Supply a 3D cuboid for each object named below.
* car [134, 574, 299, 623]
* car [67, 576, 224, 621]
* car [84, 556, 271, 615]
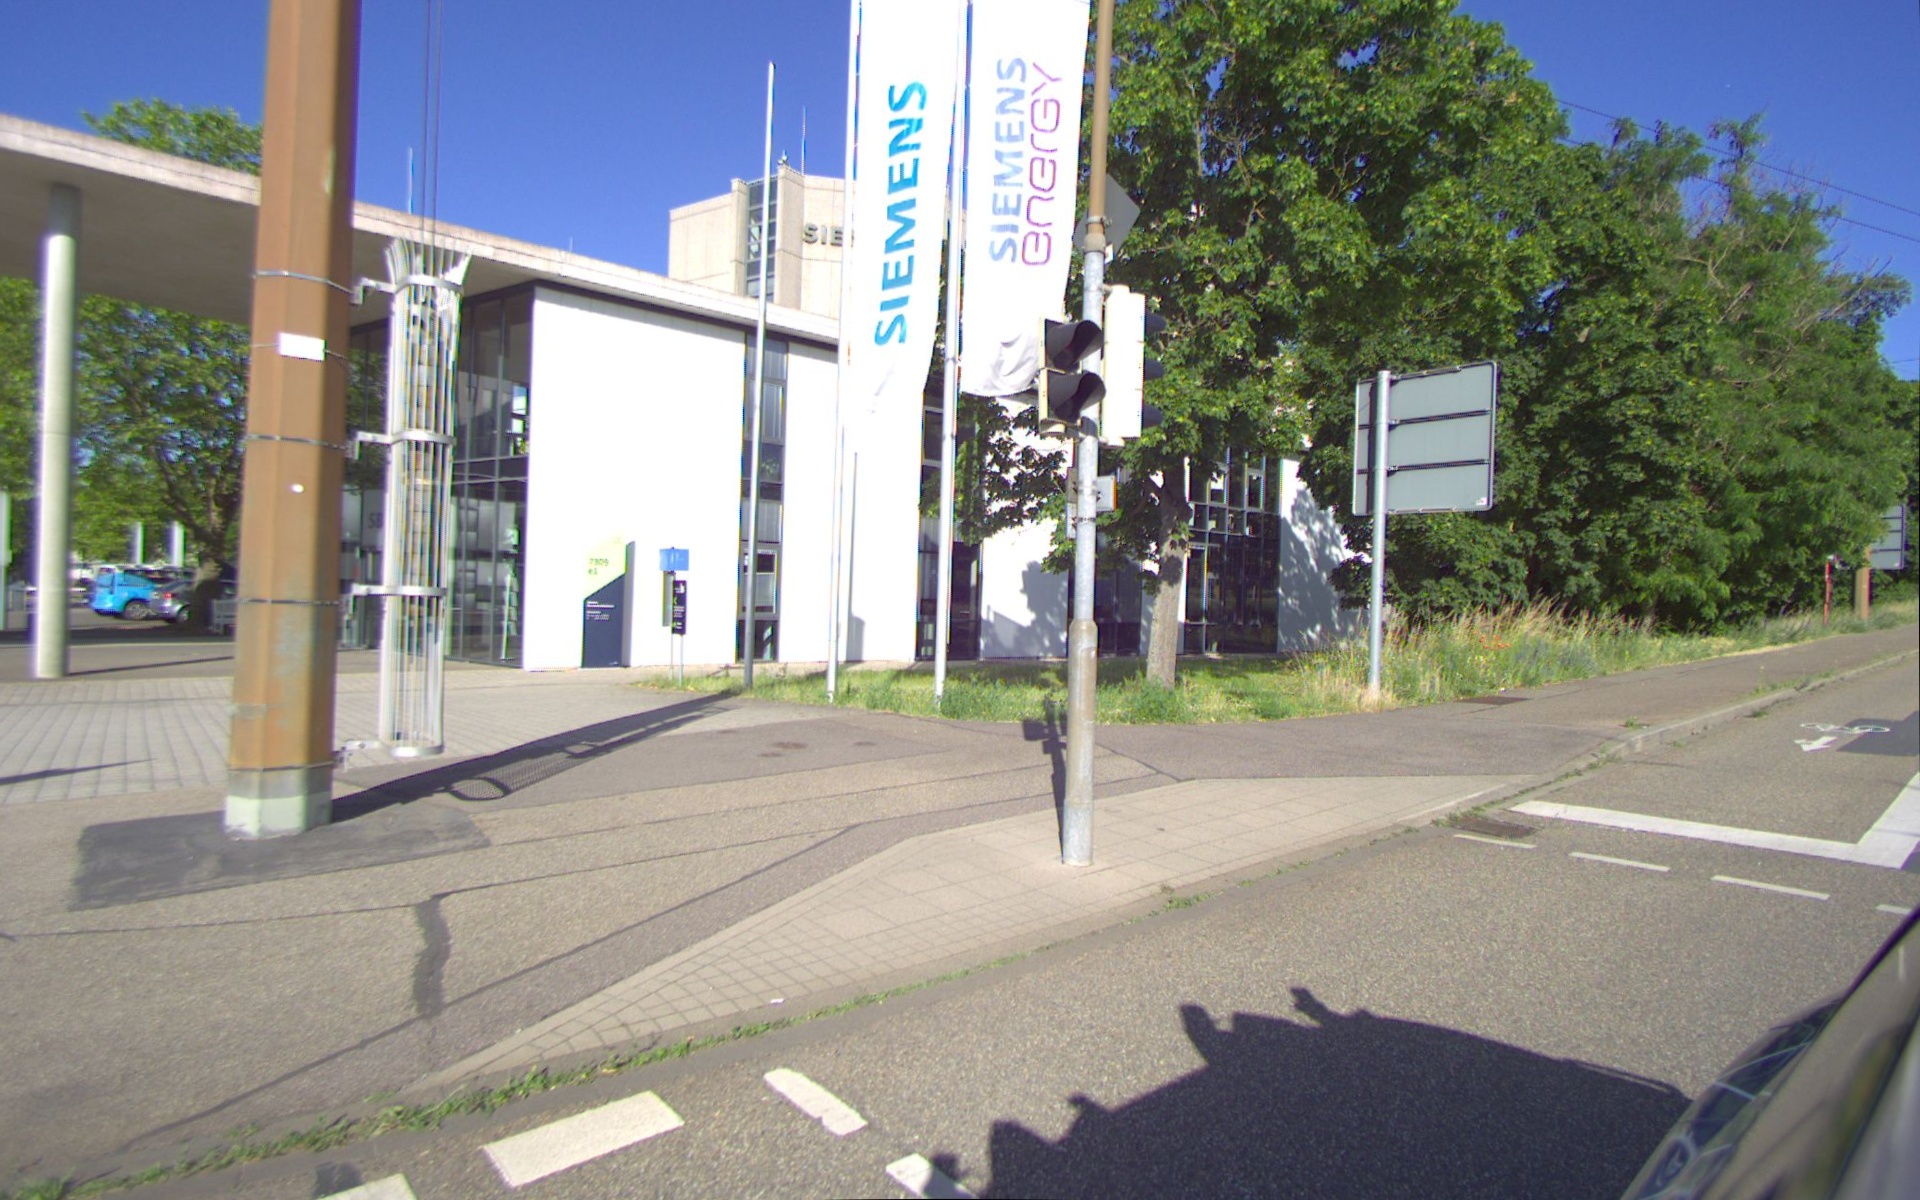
[{"bbox_3d":[-23.955,-0.068,32.750,1.766,1.462,3.953,2,1,33],"label":"car"},{"bbox_3d":[-28.603,-0.070,35.652,1.766,1.462,3.953,2,1,33],"label":"car"},{"bbox_3d":[-26.251,-0.481,34.121,1.766,1.819,4.669,2,1,33],"label":"car"}]
